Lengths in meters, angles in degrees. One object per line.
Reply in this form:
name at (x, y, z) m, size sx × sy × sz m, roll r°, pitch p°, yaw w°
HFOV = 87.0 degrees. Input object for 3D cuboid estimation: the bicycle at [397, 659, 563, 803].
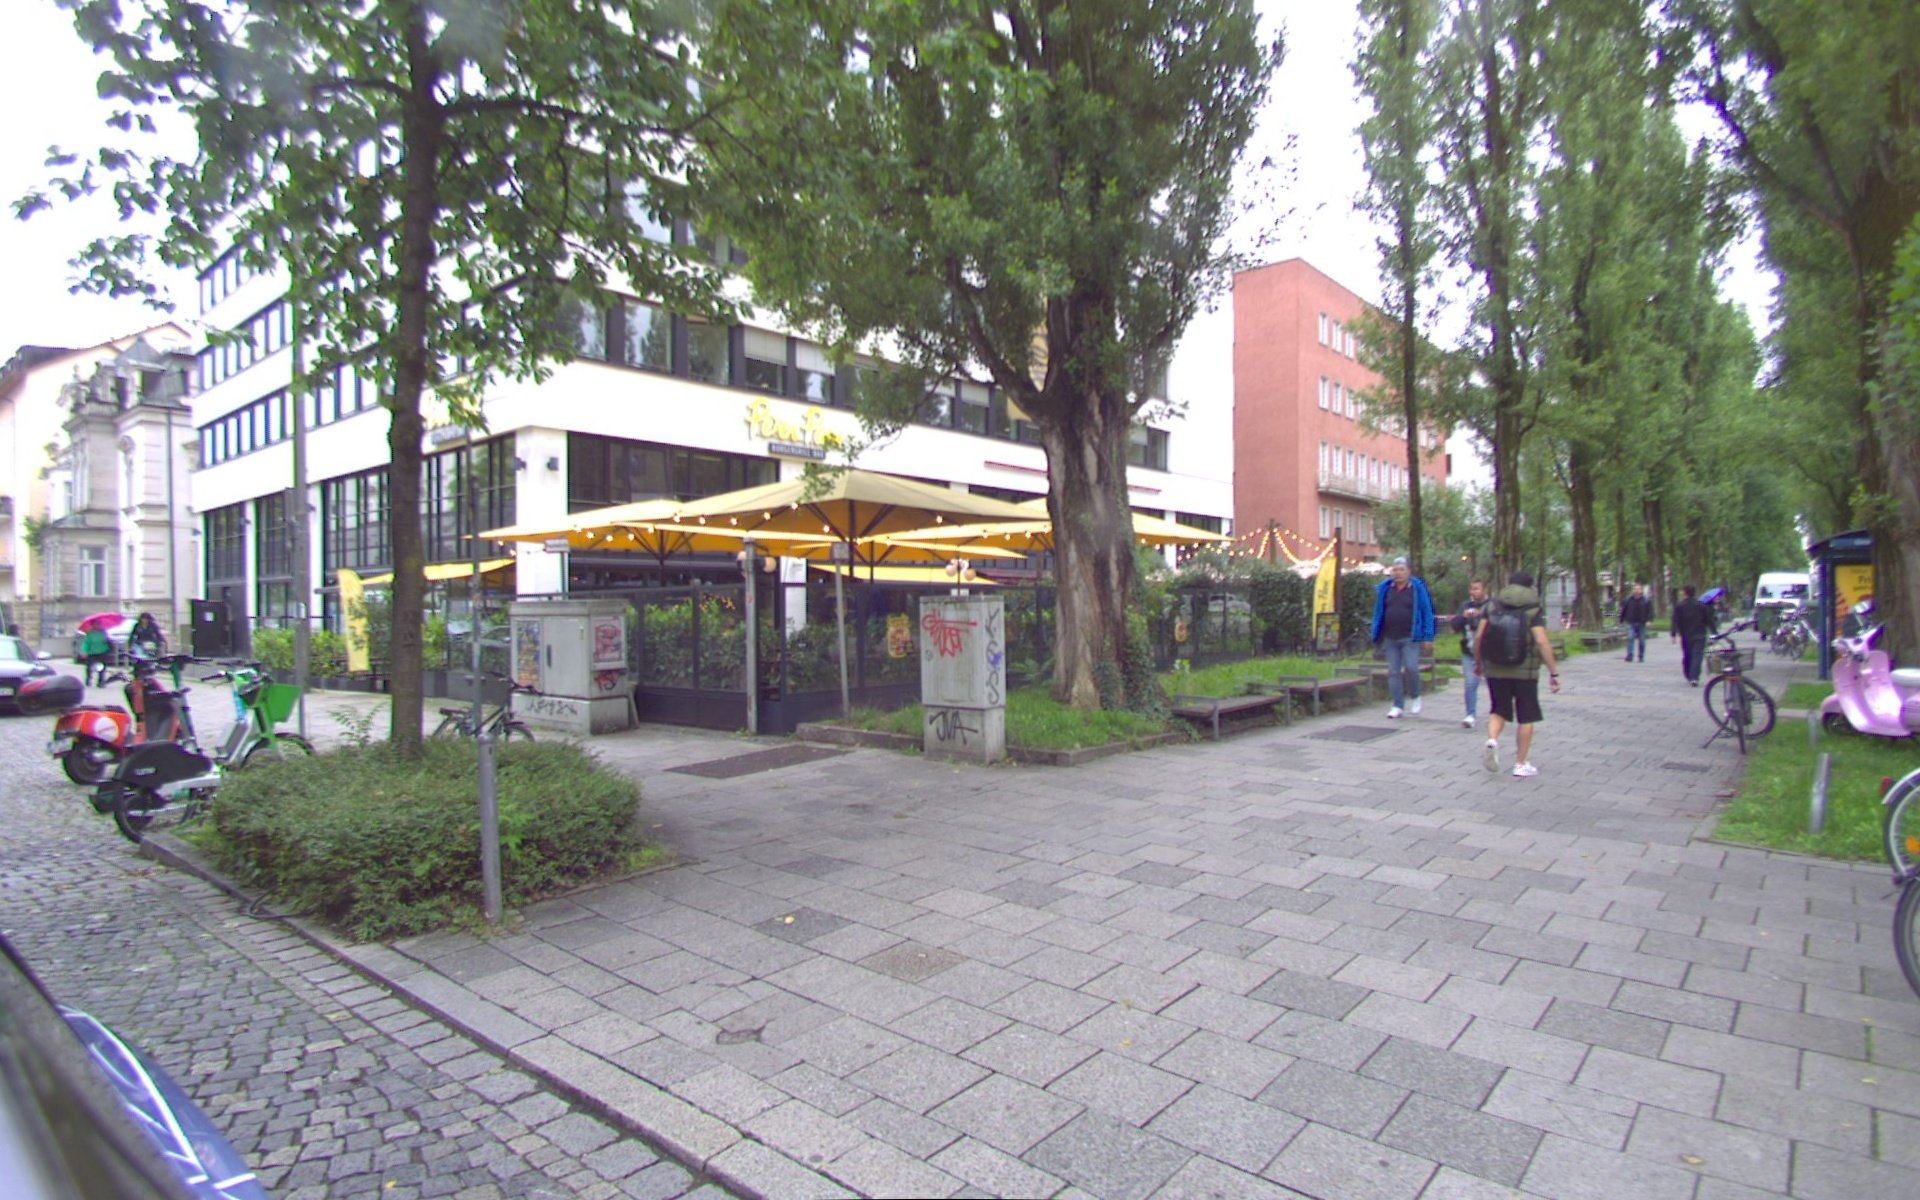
bicycle at (-4.026, 1.033, 8.432) m, size 1.761 × 1.030 × 0.546 m, roll -1°, pitch -1°, yaw 39°

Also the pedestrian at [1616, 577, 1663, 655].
pedestrian at (15.157, 0.349, 22.586) m, size 0.637 × 1.705 × 0.736 m, roll 0°, pitch -1°, yaw -45°

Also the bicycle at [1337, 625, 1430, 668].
bicycle at (9.436, 1.027, 22.599) m, size 1.800 × 0.919 × 0.612 m, roll -1°, pitch -1°, yaw 39°

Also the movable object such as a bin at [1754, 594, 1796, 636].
movable object such as a bin at (27.731, 0.516, 34.454) m, size 1.062 × 1.415 × 0.971 m, roll -1°, pitch -1°, yaw 38°

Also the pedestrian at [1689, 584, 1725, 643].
pedestrian at (21.863, 0.382, 29.621) m, size 0.637 × 1.705 × 0.736 m, roll 0°, pitch -1°, yaw -45°

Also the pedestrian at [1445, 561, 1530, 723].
pedestrian at (5.865, 0.459, 11.290) m, size 0.697 × 1.741 × 0.641 m, roll -1°, pitch -1°, yaw 17°

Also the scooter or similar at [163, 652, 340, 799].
scooter or similar at (-6.242, 1.070, 8.960) m, size 0.327 × 1.153 × 1.234 m, roll -1°, pitch -1°, yaw 41°

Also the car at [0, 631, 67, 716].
car at (-17.323, 1.258, 17.761) m, size 4.114 × 1.340 × 1.973 m, roll -1°, pitch -1°, yaw 41°

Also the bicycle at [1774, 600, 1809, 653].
bicycle at (19.674, 0.608, 23.922) m, size 0.583 × 1.197 × 2.112 m, roll -1°, pitch -1°, yaw 40°

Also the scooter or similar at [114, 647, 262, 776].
scooter or similar at (-7.427, 1.061, 9.740) m, size 1.237 × 1.189 × 0.389 m, roll -1°, pitch -1°, yaw 9°

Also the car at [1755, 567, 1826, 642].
car at (36.328, 0.198, 44.352) m, size 2.198 × 3.040 × 5.922 m, roll -1°, pitch -1°, yaw 39°

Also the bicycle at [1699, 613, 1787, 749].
bicycle at (7.624, 0.736, 9.833) m, size 0.583 × 1.197 × 1.594 m, roll -1°, pitch -1°, yaw 41°

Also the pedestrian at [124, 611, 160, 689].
pedestrian at (-18.914, 1.144, 23.393) m, size 0.651 × 1.761 × 0.567 m, roll -1°, pitch -1°, yaw 43°

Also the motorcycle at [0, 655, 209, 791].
motorcycle at (-8.607, 1.178, 10.234) m, size 0.759 × 1.205 × 1.995 m, roll 0°, pitch -2°, yaw -9°

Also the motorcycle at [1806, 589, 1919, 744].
motorcycle at (8.223, 0.576, 8.386) m, size 0.620 × 1.204 × 1.993 m, roll -1°, pitch 4°, yaw -3°

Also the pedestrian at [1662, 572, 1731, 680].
pedestrian at (12.173, 0.419, 16.719) m, size 0.857 × 1.724 × 0.946 m, roll -1°, pitch -1°, yaw 39°

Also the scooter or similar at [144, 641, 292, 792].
scooter or similar at (-6.907, 1.044, 9.476) m, size 0.324 × 1.282 × 1.247 m, roll -1°, pitch -1°, yaw 10°

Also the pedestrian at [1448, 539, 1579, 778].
pedestrian at (4.411, 0.433, 8.069) m, size 0.695 × 1.786 × 0.753 m, roll 0°, pitch 0°, yaw -44°

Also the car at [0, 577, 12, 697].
car at (-22.840, 0.826, 22.367) m, size 5.843 × 2.510 × 2.039 m, roll -1°, pitch -1°, yaw 40°

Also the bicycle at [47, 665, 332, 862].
bicycle at (-5.499, 1.104, 7.369) m, size 0.548 × 1.152 × 1.757 m, roll -1°, pitch -1°, yaw 9°

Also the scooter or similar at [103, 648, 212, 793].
scooter or similar at (-7.780, 1.126, 9.858) m, size 0.322 × 1.282 × 1.361 m, roll 0°, pitch -2°, yaw -16°

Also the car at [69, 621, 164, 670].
car at (-29.161, 1.543, 34.960) m, size 4.167 × 1.544 × 1.888 m, roll -1°, pitch -1°, yaw 41°

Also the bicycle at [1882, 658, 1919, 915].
bicycle at (4.988, 0.815, 3.971) m, size 0.484 × 1.101 × 1.985 m, roll 0°, pitch -1°, yaw -44°

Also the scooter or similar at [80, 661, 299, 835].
scooter or similar at (-5.970, 1.097, 7.927) m, size 0.366 × 1.153 × 1.422 m, roll -1°, pitch 0°, yaw 16°

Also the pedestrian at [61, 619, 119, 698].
pedestrian at (-19.806, 1.311, 23.045) m, size 0.800 × 1.719 × 0.916 m, roll -1°, pitch -1°, yaw 43°

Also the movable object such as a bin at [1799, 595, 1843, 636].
movable object such as a bin at (28.892, 0.516, 33.969) m, size 1.062 × 1.321 × 0.971 m, roll -1°, pitch -1°, yaw 38°

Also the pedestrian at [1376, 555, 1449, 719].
pedestrian at (5.443, 0.437, 12.213) m, size 0.697 × 1.922 × 0.641 m, roll -1°, pitch -1°, yaw 17°
